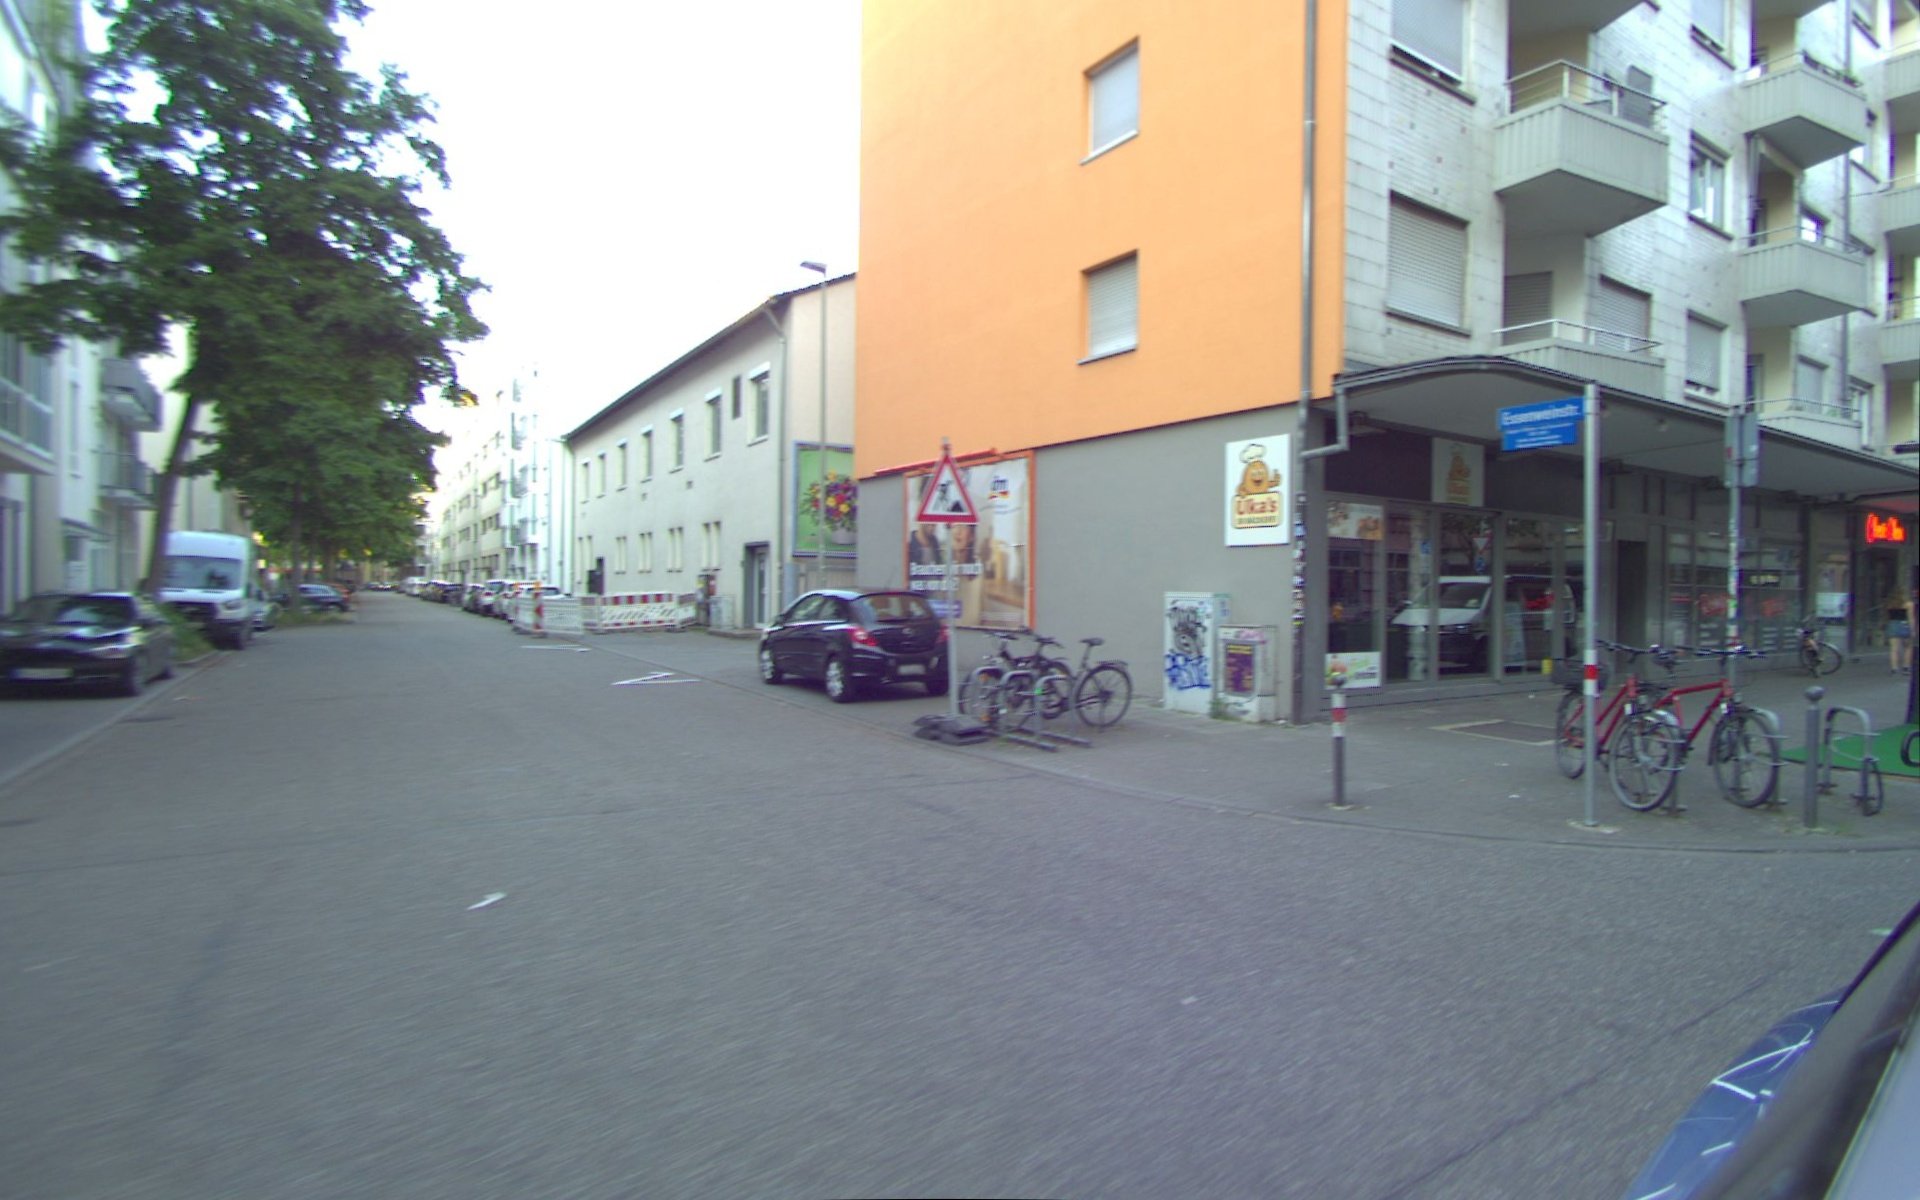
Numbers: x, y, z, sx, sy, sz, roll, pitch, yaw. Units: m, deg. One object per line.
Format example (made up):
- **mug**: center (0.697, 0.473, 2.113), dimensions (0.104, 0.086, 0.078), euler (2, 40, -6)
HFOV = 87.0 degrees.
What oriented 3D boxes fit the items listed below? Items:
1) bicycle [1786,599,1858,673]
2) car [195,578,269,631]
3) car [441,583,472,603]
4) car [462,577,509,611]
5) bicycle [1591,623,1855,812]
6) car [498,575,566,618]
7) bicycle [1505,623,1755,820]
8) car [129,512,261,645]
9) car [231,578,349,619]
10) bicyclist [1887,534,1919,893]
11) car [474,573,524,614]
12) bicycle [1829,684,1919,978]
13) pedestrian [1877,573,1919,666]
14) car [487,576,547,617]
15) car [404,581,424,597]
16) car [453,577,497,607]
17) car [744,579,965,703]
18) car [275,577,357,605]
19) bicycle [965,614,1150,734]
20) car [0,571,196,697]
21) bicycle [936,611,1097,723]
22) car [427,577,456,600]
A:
- **bicycle**: center (15.828, 0.621, 18.568), dimensions (0.910, 1.210, 1.685), euler (4, 4, 42)
- **car**: center (-23.466, 0.108, 32.735), dimensions (1.734, 1.560, 4.101), euler (-1, 1, -33)
- **car**: center (-32.121, -0.470, 64.556), dimensions (1.516, 1.213, 3.518), euler (-1, 1, -31)
- **car**: center (-23.611, -0.321, 50.328), dimensions (1.793, 1.571, 3.798), euler (-1, 1, -30)
- **bicycle**: center (5.914, 0.841, 8.021), dimensions (0.645, 1.148, 1.944), euler (2, 3, 3)
- **car**: center (-15.523, -0.160, 36.590), dimensions (1.774, 1.437, 4.137), euler (-1, 1, -30)
- **bicycle**: center (4.997, 0.835, 7.736), dimensions (0.645, 1.148, 1.944), euler (2, 3, 3)
- **car**: center (-18.483, -0.463, 24.745), dimensions (2.035, 2.769, 6.786), euler (3, -1, -34)
- **car**: center (-29.323, -0.113, 44.355), dimensions (1.939, 1.705, 3.940), euler (0, 1, 42)
- **bicyclist**: center (4.586, 0.476, 4.352), dimensions (0.934, 1.527, 0.651), euler (-1, 1, -32)
- **car**: center (-20.988, -0.329, 45.992), dimensions (1.808, 1.758, 3.751), euler (-1, 1, -28)
- **bicycle**: center (4.475, 0.903, 4.291), dimensions (1.880, 1.031, 0.659), euler (-1, 1, -32)
- **pedestrian**: center (17.951, 0.352, 19.135), dimensions (0.730, 1.686, 0.711), euler (-1, 3, -34)
- **car**: center (-18.164, -0.168, 41.405), dimensions (1.838, 1.615, 3.757), euler (-1, 1, -29)
- **car**: center (-52.669, -1.056, 97.573), dimensions (1.560, 1.490, 3.598), euler (-1, 1, -31)
- **car**: center (-26.257, -0.458, 54.758), dimensions (1.880, 1.571, 3.798), euler (-1, 1, -30)
- **car**: center (-1.612, 0.456, 14.323), dimensions (1.672, 1.494, 3.683), euler (-1, 2, -32)
- **car**: center (-40.819, -0.591, 64.191), dimensions (1.935, 1.705, 3.947), euler (0, 1, 37)
- **bicycle**: center (1.031, 0.725, 10.493), dimensions (1.924, 1.080, 0.565), euler (-1, 2, -29)
- **car**: center (-12.283, 0.387, 14.224), dimensions (1.756, 1.451, 4.253), euler (3, 0, -28)
- **bicycle**: center (0.631, 0.695, 11.027), dimensions (1.722, 1.080, 0.565), euler (-1, 2, -29)
- **car**: center (-36.231, -0.789, 70.652), dimensions (1.560, 1.560, 3.598), euler (-1, 1, -31)
